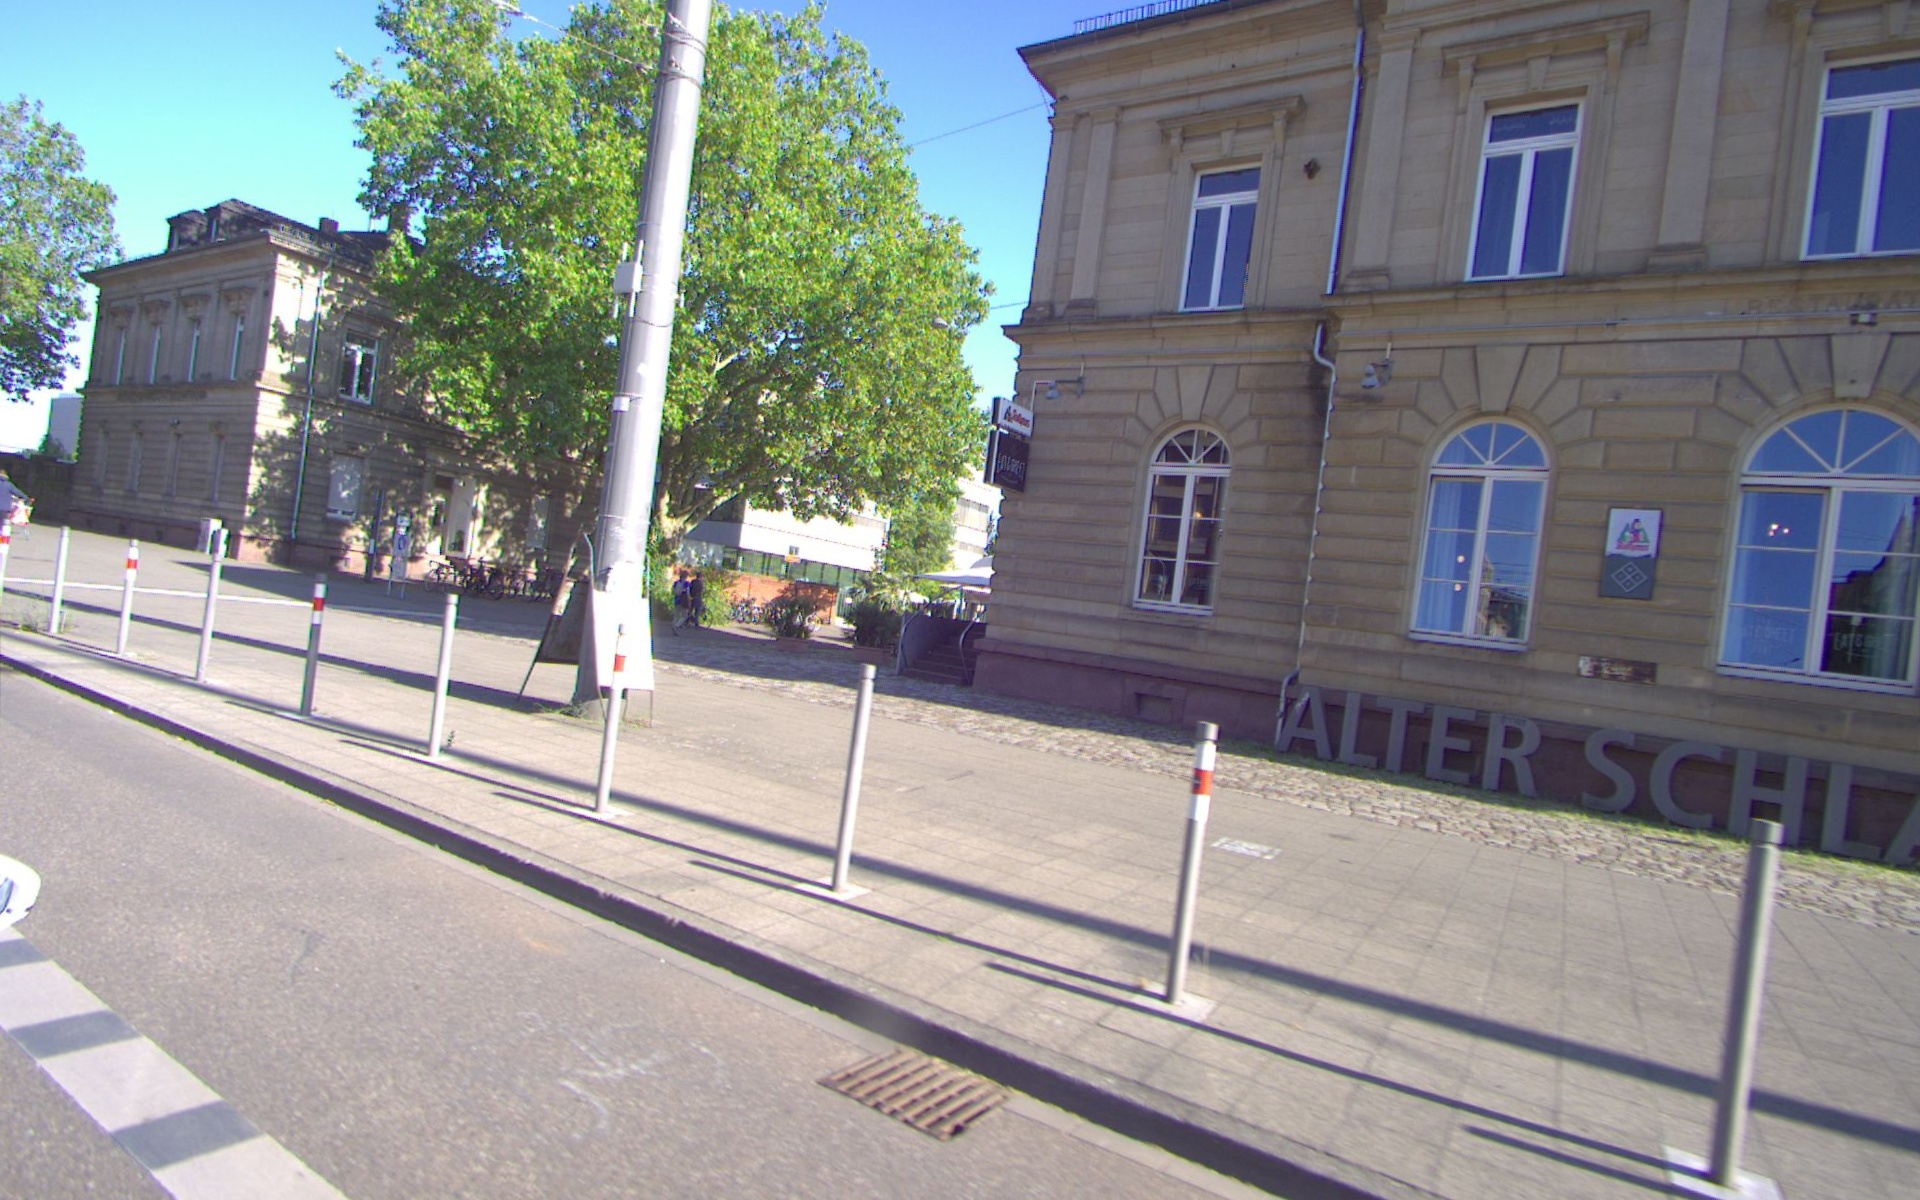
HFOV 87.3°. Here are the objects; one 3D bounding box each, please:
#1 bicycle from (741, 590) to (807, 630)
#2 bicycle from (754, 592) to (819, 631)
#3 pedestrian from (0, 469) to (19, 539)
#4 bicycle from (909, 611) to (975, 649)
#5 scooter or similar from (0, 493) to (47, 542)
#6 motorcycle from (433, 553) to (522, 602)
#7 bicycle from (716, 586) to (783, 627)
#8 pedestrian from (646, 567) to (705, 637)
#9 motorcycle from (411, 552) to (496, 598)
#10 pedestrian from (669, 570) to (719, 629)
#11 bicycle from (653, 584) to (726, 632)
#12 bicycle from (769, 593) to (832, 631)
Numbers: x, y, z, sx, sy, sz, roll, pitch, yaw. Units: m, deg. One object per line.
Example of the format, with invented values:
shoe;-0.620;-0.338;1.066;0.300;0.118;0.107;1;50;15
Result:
bicycle;-7.658;0.401;41.335;2.623;1.293;0.781;7;-1;29
bicycle;-7.310;0.477;42.324;2.623;1.293;0.781;7;-1;29
pedestrian;-24.879;-2.504;25.875;0.763;1.767;0.789;5;2;-32
bicycle;-0.758;1.290;43.483;2.634;1.293;0.778;8;-1;-23
scooter or similar;-24.699;-2.168;26.459;0.746;1.171;0.719;7;2;27
motorcycle;-14.730;-0.665;30.763;0.874;1.173;2.218;6;-2;40
bicycle;-8.428;0.253;40.177;2.623;1.293;0.781;7;-1;29
pedestrian;-7.894;0.067;27.966;1.018;1.811;0.998;7;2;22
motorcycle;-15.619;-0.767;31.057;0.874;1.115;2.076;6;-2;40
pedestrian;-8.645;-0.005;32.680;1.018;1.767;0.998;7;2;22
bicycle;-8.778;0.276;32.811;0.767;1.293;2.671;7;-2;20
bicycle;-6.841;0.524;43.084;2.623;1.293;0.781;7;-1;29
